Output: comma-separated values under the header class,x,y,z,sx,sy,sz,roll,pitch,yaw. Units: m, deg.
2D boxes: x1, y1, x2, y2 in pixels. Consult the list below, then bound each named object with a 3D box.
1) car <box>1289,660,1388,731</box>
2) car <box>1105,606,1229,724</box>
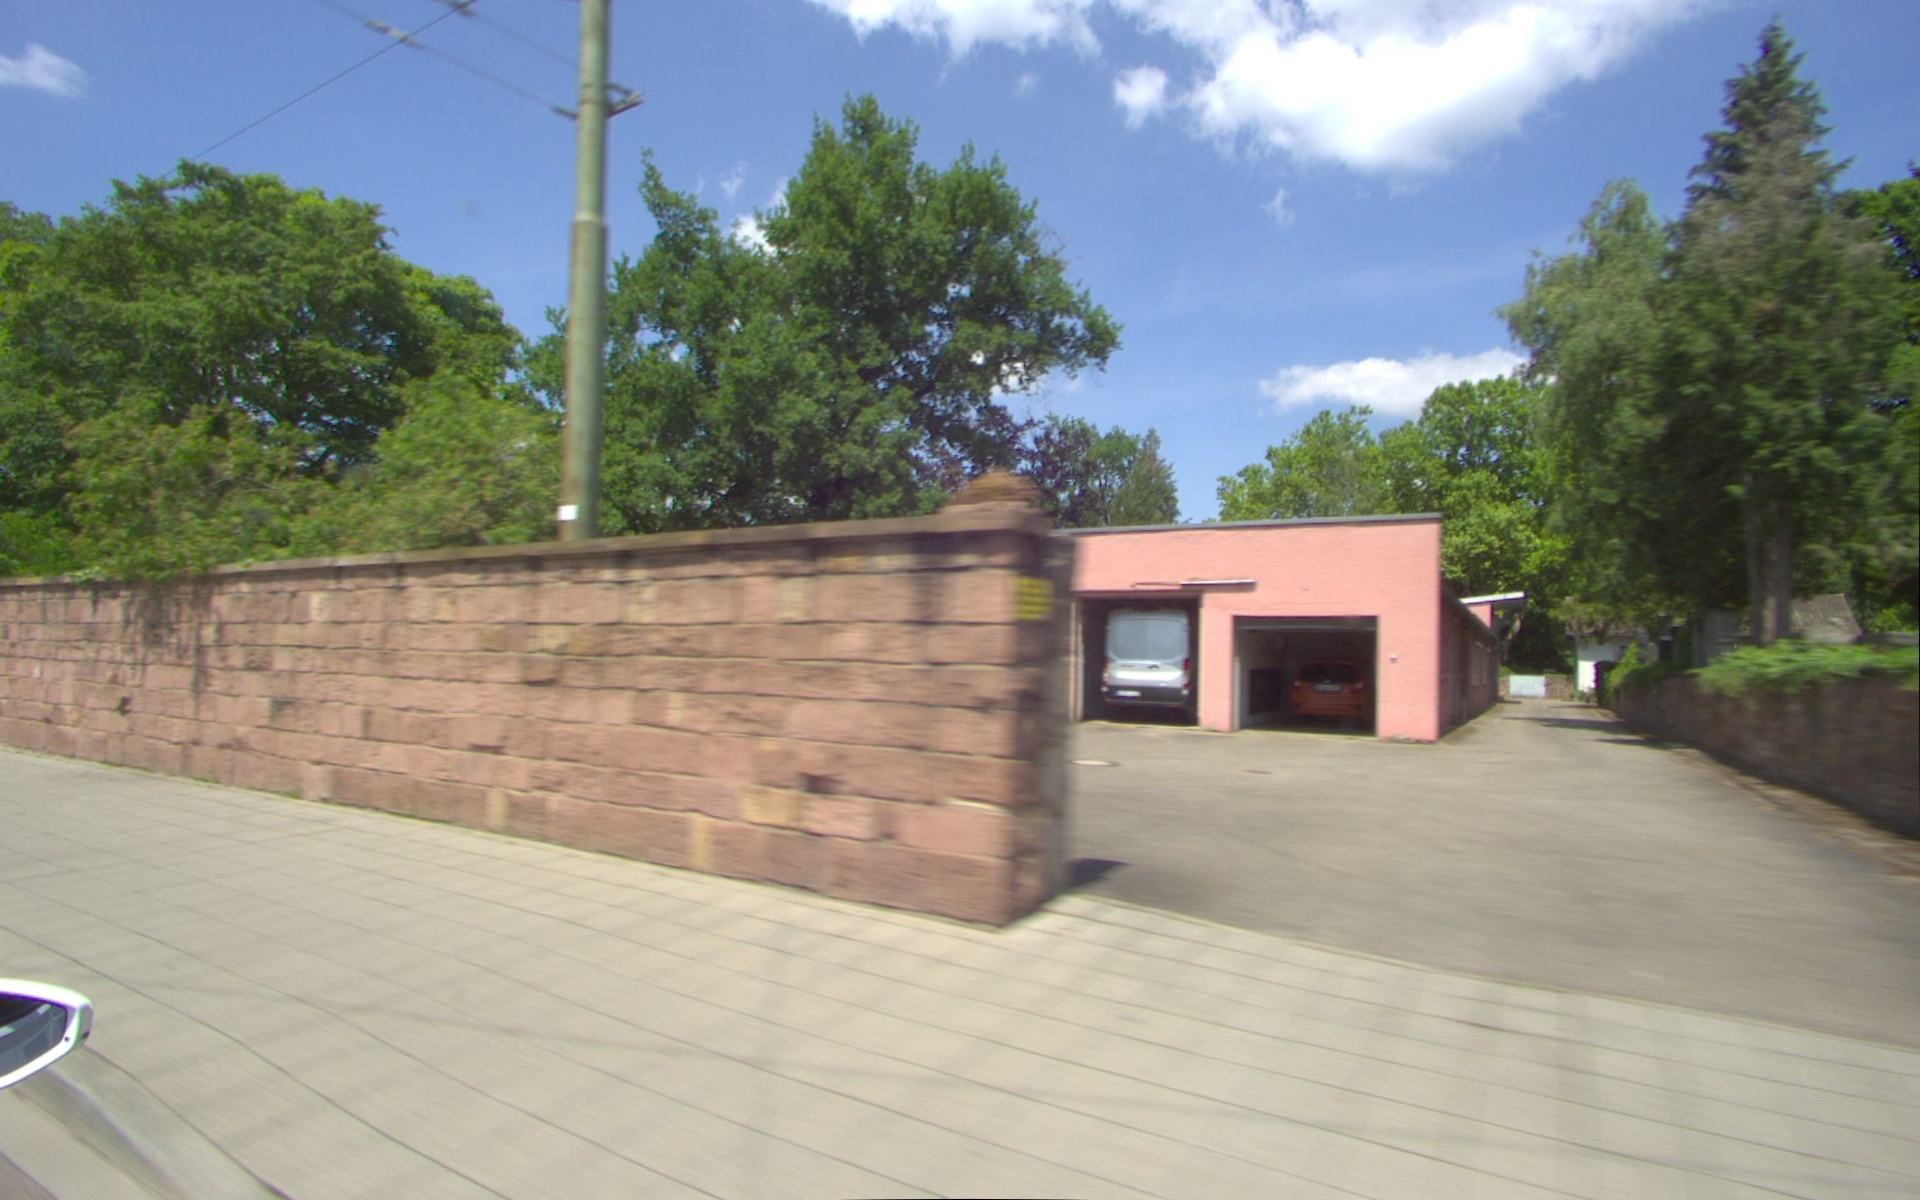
class,x,y,z,sx,sy,sz,roll,pitch,yaw
car,8.427,2.070,22.189,1.614,1.433,2.761,-1,-4,30
car,4.833,1.490,22.969,1.908,2.446,3.839,-1,-4,26
